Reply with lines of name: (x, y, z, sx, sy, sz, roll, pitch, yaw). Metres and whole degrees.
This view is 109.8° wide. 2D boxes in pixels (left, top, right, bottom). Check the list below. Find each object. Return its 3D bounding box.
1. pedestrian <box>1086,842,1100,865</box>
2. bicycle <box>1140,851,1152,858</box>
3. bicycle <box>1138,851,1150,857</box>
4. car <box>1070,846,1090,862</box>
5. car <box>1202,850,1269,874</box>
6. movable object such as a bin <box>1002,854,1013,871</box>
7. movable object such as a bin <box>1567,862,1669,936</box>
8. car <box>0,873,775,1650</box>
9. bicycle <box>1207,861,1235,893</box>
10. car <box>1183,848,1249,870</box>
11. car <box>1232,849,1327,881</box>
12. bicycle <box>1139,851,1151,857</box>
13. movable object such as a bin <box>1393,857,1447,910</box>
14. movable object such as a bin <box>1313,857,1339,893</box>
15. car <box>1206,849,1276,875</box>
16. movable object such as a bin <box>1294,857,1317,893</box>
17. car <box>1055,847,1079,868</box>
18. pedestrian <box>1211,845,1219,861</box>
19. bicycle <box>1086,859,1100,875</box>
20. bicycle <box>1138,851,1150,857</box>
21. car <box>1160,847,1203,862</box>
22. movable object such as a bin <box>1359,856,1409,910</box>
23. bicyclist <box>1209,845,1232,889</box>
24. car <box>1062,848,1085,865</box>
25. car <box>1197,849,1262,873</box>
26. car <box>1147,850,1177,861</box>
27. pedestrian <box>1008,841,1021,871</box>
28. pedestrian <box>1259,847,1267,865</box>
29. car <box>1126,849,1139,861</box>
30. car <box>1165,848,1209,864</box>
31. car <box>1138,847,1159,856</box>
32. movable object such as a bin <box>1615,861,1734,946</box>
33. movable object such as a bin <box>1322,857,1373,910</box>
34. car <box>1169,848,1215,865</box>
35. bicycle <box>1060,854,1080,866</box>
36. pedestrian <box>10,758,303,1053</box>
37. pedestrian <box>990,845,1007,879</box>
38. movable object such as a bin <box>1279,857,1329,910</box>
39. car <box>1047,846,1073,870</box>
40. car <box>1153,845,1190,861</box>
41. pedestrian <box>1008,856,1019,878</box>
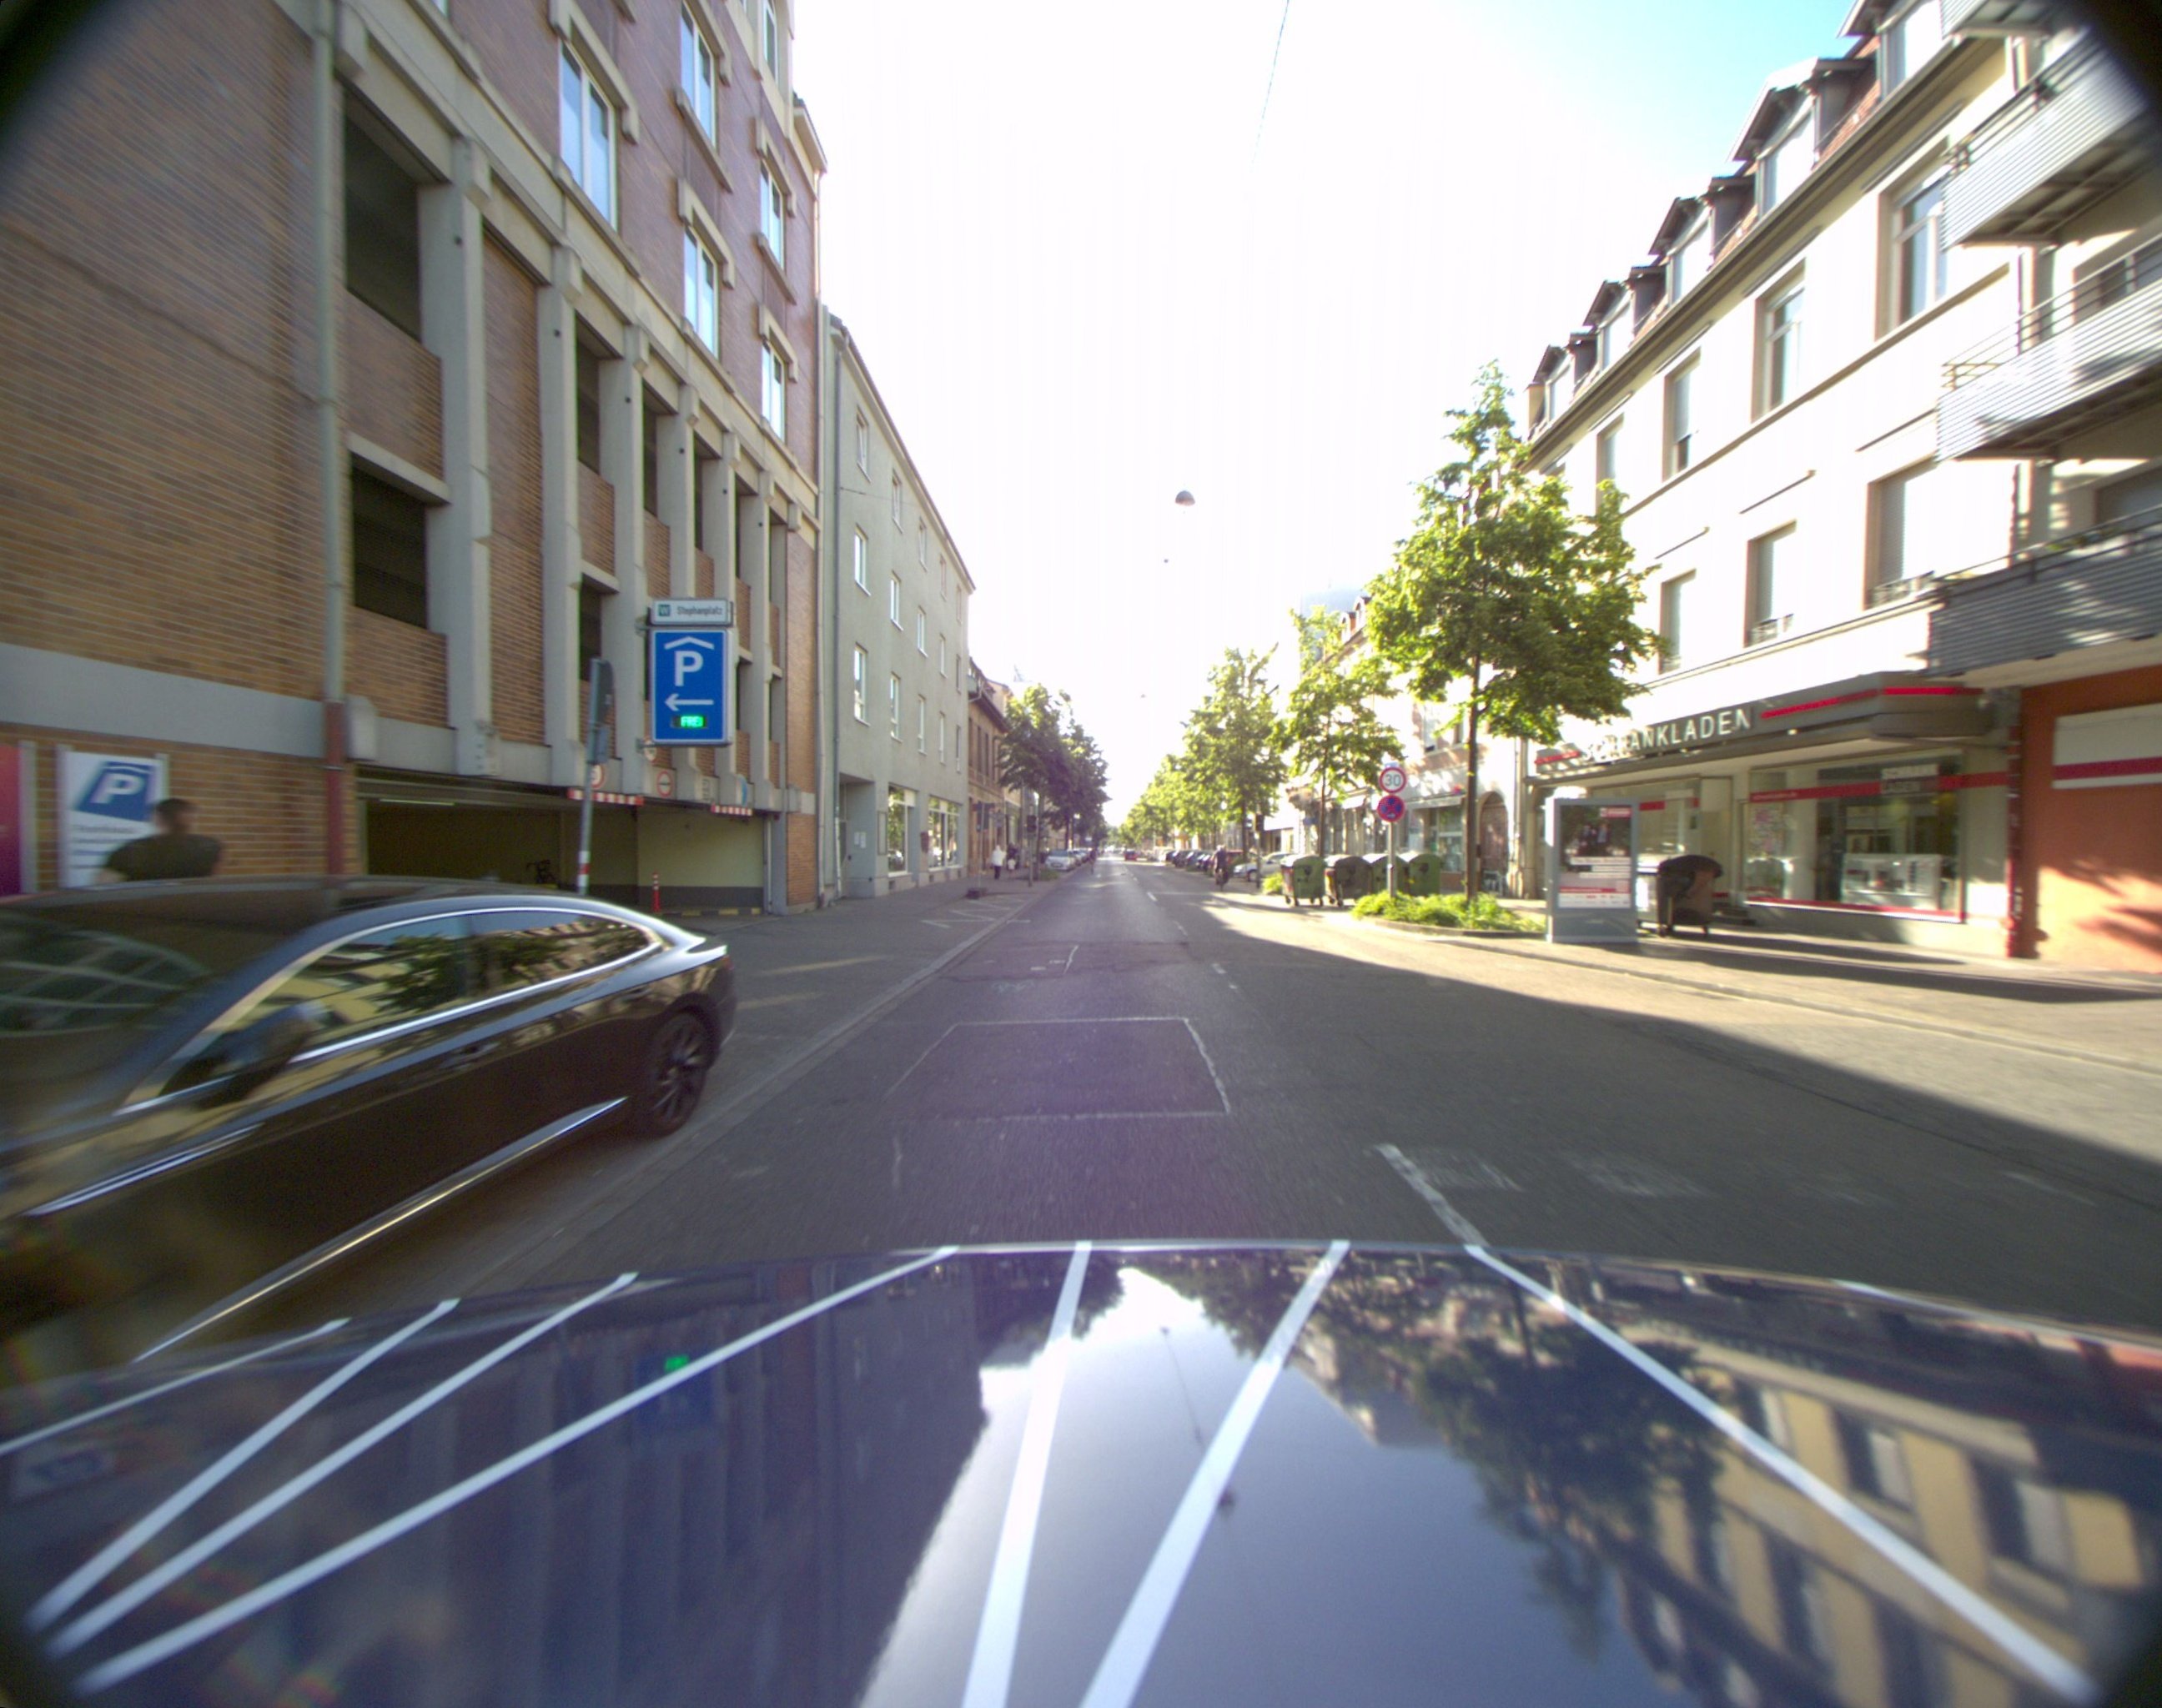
pedestrian: (0.720, -0.011, 46.201, 0.803, 1.381, 0.931, -1, 0, 1)
bicycle: (11.288, 0.075, 132.441, 2.006, 1.023, 0.473, -2, 1, -11)
bicycle: (11.033, 0.058, 133.856, 2.006, 1.023, 0.473, -2, 1, -11)
car: (-0.115, -0.005, 83.992, 1.998, 1.680, 4.516, 3, 0, 1)
car: (9.471, 0.496, 46.845, 3.849, 1.420, 1.790, -1, 1, 4)
movable object such as a bin: (-4.731, 0.550, 48.964, 0.590, 1.034, 0.722, 2, 1, 3)
movable object such as a bin: (10.380, 0.841, 14.742, 1.044, 1.337, 1.314, 0, 1, 1)
car: (-3.231, 0.941, 2.829, 1.922, 1.470, 4.965, 4, 1, 2)
bicycle: (5.388, 0.864, 29.313, 0.707, 1.140, 1.967, 0, 1, 1)
car: (9.850, 0.373, 55.713, 4.504, 1.450, 1.790, -2, 1, 0)
car: (9.531, 0.515, 36.701, 4.212, 1.460, 1.740, -1, 1, 4)
bicycle: (11.197, 0.063, 132.926, 2.006, 1.023, 0.473, -2, 1, -11)
movable object such as a bin: (9.683, 0.831, 21.753, 1.044, 1.463, 1.143, 0, 1, 1)
movable object such as a bin: (9.264, 0.795, 28.752, 0.756, 1.333, 0.805, 0, 1, 1)
car: (9.261, 0.462, 44.181, 3.757, 1.460, 1.740, -1, 1, 2)
movable object such as a bin: (8.486, 0.786, 28.772, 0.636, 1.333, 0.805, 0, 1, 1)
car: (-1.043, 0.254, 58.567, 1.617, 1.520, 4.234, 3, 1, 1)
pedestrian: (13.711, -0.072, 77.863, 0.566, 1.617, 0.727, -4, 1, 0)
bicycle: (0.724, 0.768, 46.243, 0.805, 0.958, 1.996, -1, 0, 1)
bicycle: (11.117, 0.055, 133.430, 2.006, 1.023, 0.473, -2, 1, -11)
car: (10.634, 0.060, 80.569, 4.376, 1.561, 1.946, 0, 1, 3)
movable object such as a bin: (8.648, 0.810, 21.724, 0.966, 1.463, 1.143, 0, 1, 1)
bicyclist: (5.387, 0.484, 29.382, 0.698, 1.643, 1.036, 0, 1, 1)
car: (-0.664, 0.202, 71.041, 1.887, 1.518, 4.234, 2, 0, 1)
car: (9.575, 0.440, 49.208, 3.928, 1.477, 1.771, -1, 1, 4)
car: (10.933, 0.196, 102.347, 3.788, 1.455, 1.710, -1, 0, -1)
pedestrian: (-3.976, 0.087, 45.399, 0.624, 1.755, 0.771, 2, 1, 3)
pedestrian: (14.051, 0.139, 58.629, 0.509, 1.400, 0.825, -1, 0, 6)
car: (6.970, 0.091, 103.763, 1.662, 1.526, 3.761, 1, 1, 2)
car: (10.825, 0.224, 77.879, 4.376, 1.561, 1.980, 0, 1, 3)
car: (13.477, -0.534, 151.767, 4.134, 1.670, 2.000, -1, 1, 1)
movable object such as a bin: (10.360, 0.829, 13.334, 1.044, 1.396, 1.314, 0, 1, 1)
movable object such as a bin: (7.581, 0.816, 21.637, 1.044, 1.463, 1.143, 0, 1, 1)
car: (9.712, 0.233, 66.588, 3.790, 1.450, 1.780, 0, 1, -1)
bicycle: (-0.982, 0.537, 67.975, 1.626, 1.007, 0.611, 4, 1, 0)
pedestrian: (-5.627, 0.288, 4.693, 0.693, 1.626, 0.889, 2, 1, 1)
pedestrian: (-3.782, 0.358, 34.869, 0.582, 1.550, 1.020, 3, 1, 1)
movable object such as a bin: (6.446, 0.826, 22.046, 1.044, 1.463, 1.452, 0, 1, 1)
car: (-1.405, 0.258, 52.915, 1.617, 1.520, 3.060, 2, 1, 1)
car: (10.658, -0.104, 89.498, 4.115, 1.825, 2.039, -1, 0, 3)
pedestrian: (-3.240, 0.606, 36.324, 0.394, 1.027, 0.739, 3, 1, 1)
